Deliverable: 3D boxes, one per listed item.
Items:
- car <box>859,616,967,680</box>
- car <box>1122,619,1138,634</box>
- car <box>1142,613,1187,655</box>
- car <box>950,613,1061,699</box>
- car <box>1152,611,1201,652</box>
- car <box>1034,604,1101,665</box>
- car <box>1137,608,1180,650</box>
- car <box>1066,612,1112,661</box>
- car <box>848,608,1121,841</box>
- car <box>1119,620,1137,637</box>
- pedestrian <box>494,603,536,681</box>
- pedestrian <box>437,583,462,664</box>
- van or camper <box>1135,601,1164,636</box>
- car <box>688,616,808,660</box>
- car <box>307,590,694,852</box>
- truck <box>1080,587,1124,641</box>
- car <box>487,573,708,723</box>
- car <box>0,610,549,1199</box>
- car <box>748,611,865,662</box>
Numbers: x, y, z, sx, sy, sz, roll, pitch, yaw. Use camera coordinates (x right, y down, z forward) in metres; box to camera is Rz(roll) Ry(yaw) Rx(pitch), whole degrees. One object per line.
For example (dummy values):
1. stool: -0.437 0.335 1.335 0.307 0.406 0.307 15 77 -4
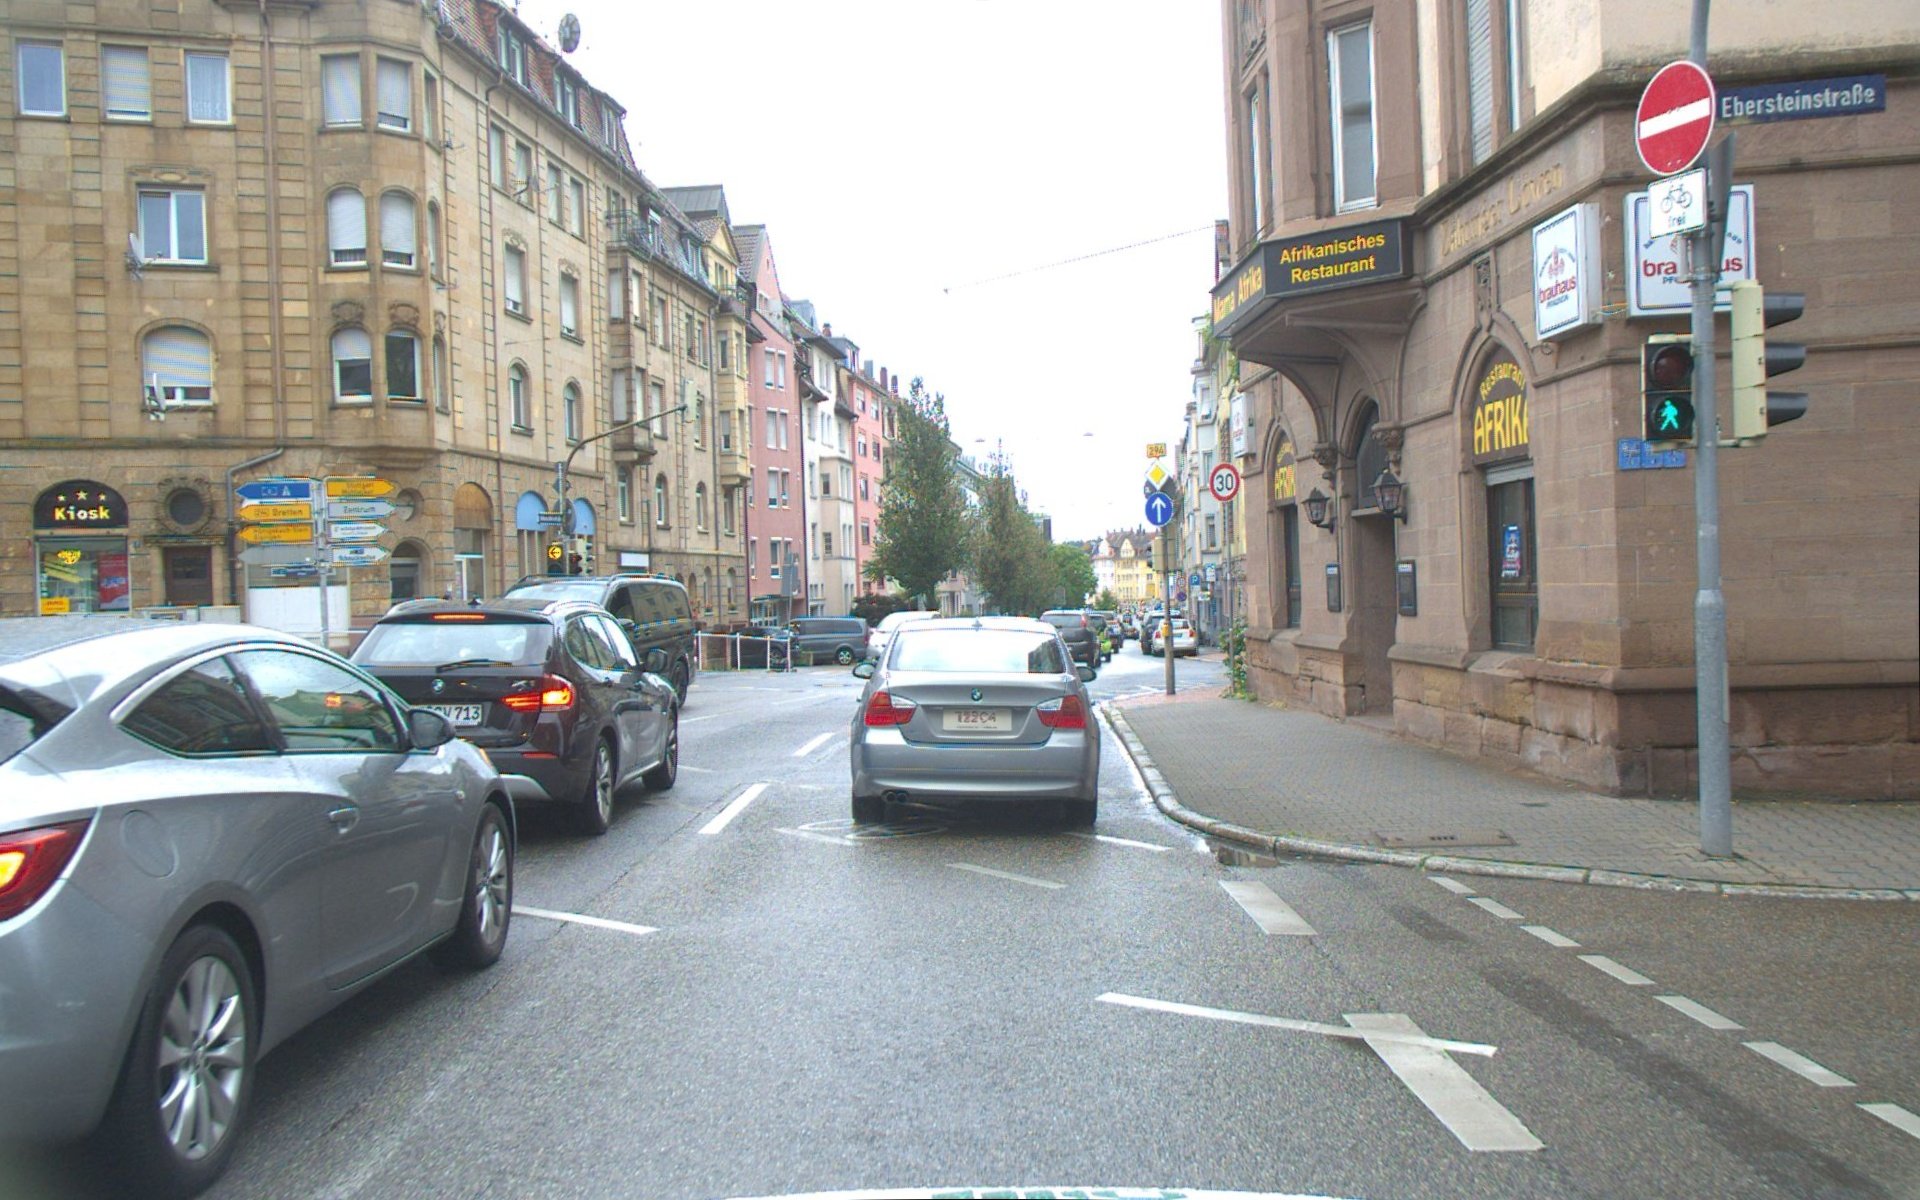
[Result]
1. car: -1.166 1.199 42.839 1.591 1.545 3.872 0 0 18
2. car: 20.065 3.147 194.682 1.839 1.762 4.443 0 -1 6
3. car: 8.853 1.464 71.893 1.839 1.762 4.679 0 -1 6
4. car: 0.880 0.988 30.006 1.646 1.453 3.743 0 -1 7
5. car: 8.656 1.265 66.310 1.761 1.592 4.495 0 -1 5
6. car: 2.780 0.914 43.189 1.662 1.509 3.794 0 -1 3
7. car: 9.314 1.364 77.870 1.879 1.859 5.012 -3 -1 6
8. car: 4.304 1.224 55.479 1.418 1.593 3.333 0 -1 3
9. car: 0.089 0.792 12.356 1.734 1.453 3.739 0 0 -2
10. car: 17.686 2.944 173.907 1.839 1.762 4.680 0 -1 6
11. pedestrian: -10.015 0.930 37.197 0.815 1.732 0.634 1 -1 -24
12. pedestrian: -11.487 0.517 37.223 0.514 1.805 0.690 1 -1 -17
13. van or camper: 16.172 1.573 141.060 1.990 2.919 6.890 1 -1 10
14. car: -7.808 1.396 61.199 4.059 1.537 1.874 -1 -1 6
15. car: -3.098 0.775 12.053 1.716 1.562 4.213 0 -1 -1
16. truck: 6.761 0.704 78.419 1.989 2.455 4.829 0 -1 6
17. car: -5.009 0.651 23.449 1.705 1.878 4.149 -2 -1 8
18. car: -2.732 0.802 5.442 1.716 1.509 4.180 -1 0 0
19. car: -6.114 1.442 66.274 4.581 1.973 1.862 0 -1 -3
